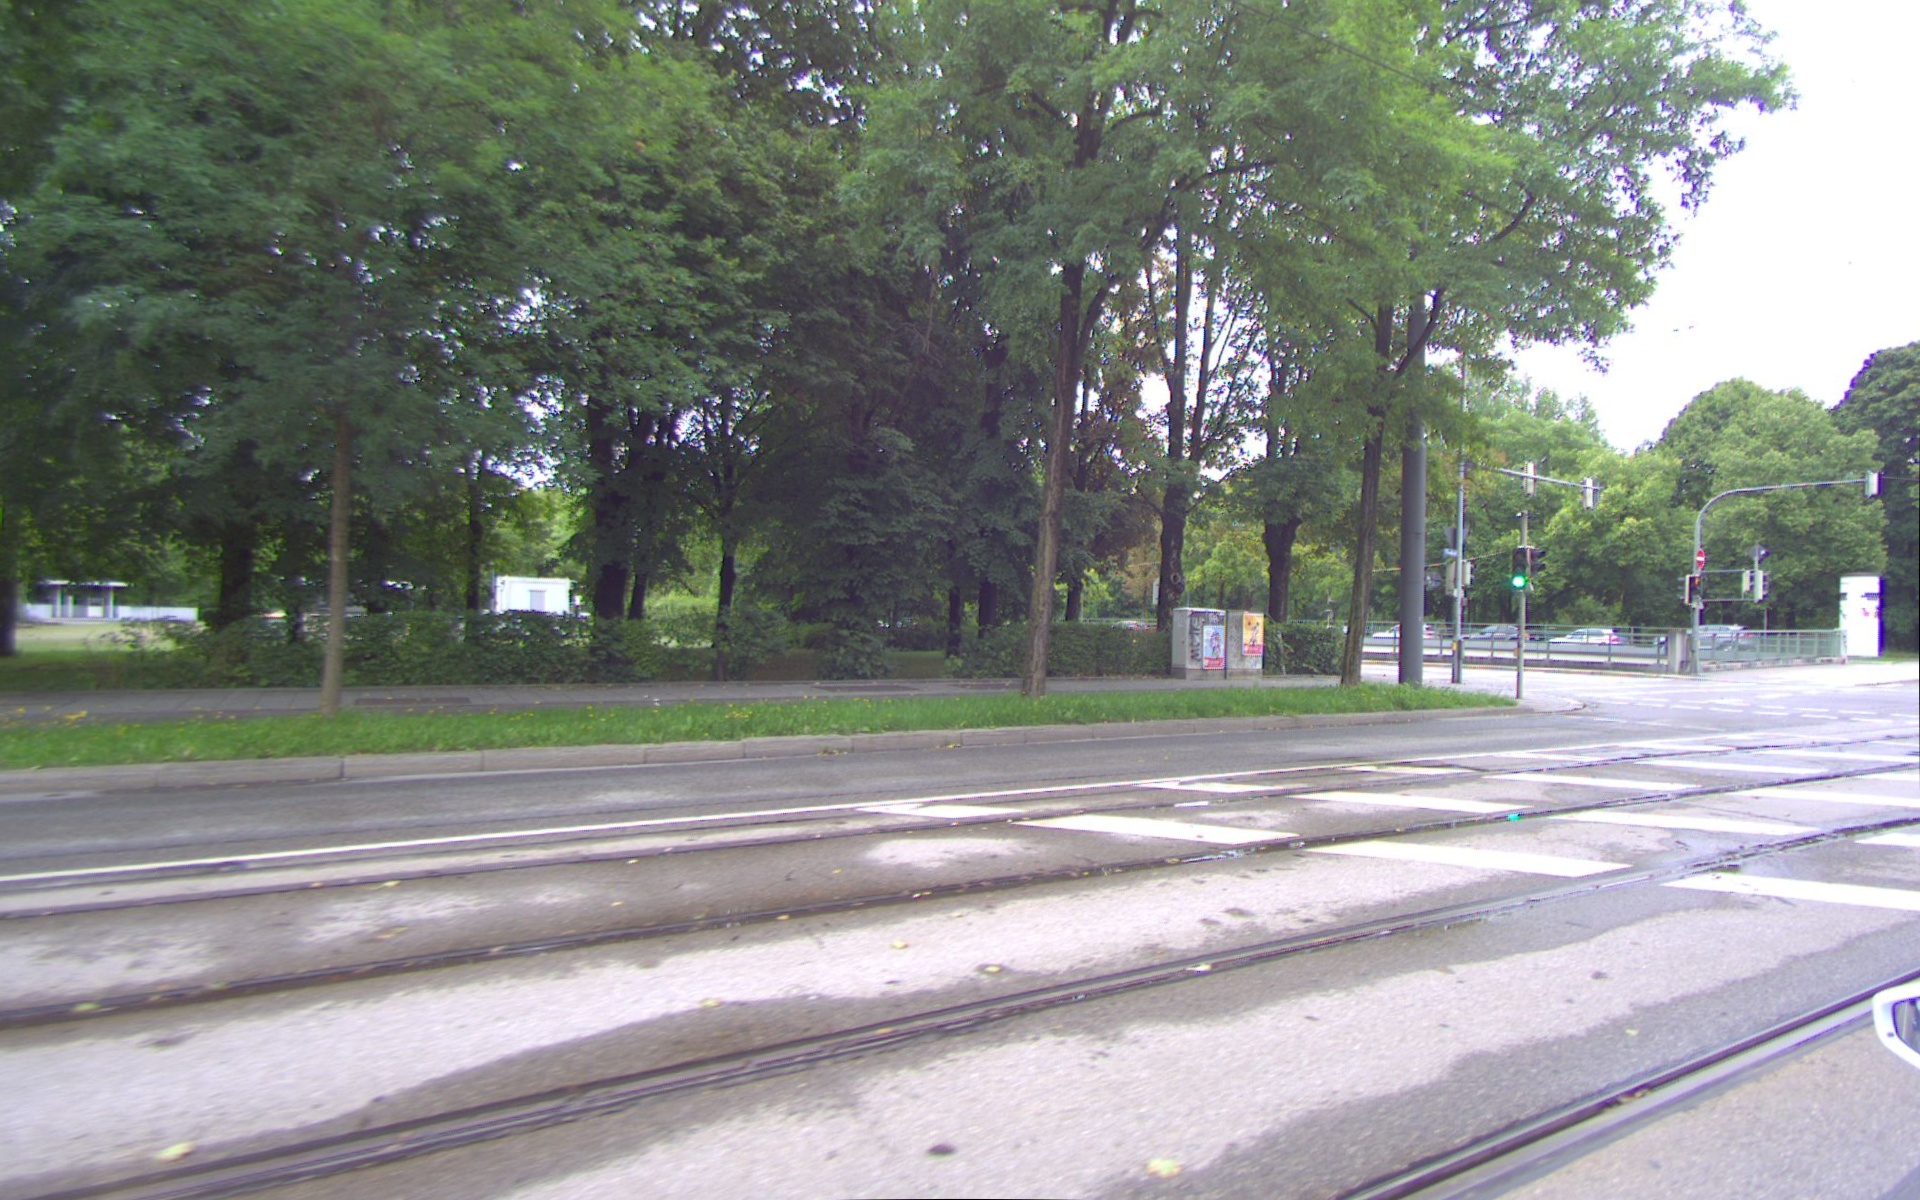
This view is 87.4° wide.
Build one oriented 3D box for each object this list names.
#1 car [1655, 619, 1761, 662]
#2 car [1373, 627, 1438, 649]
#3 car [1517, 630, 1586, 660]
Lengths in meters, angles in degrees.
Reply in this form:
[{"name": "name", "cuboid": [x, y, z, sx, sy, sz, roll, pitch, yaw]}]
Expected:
[{"name": "car", "cuboid": [37.868, 2.027, 50.914, 1.476, 1.912, 3.994, 2, 1, -36]}, {"name": "car", "cuboid": [28.643, 2.424, 64.601, 1.238, 1.201, 3.704, 2, 1, -34]}, {"name": "car", "cuboid": [33.466, 2.534, 56.877, 1.238, 1.471, 3.089, 2, 1, -34]}]
